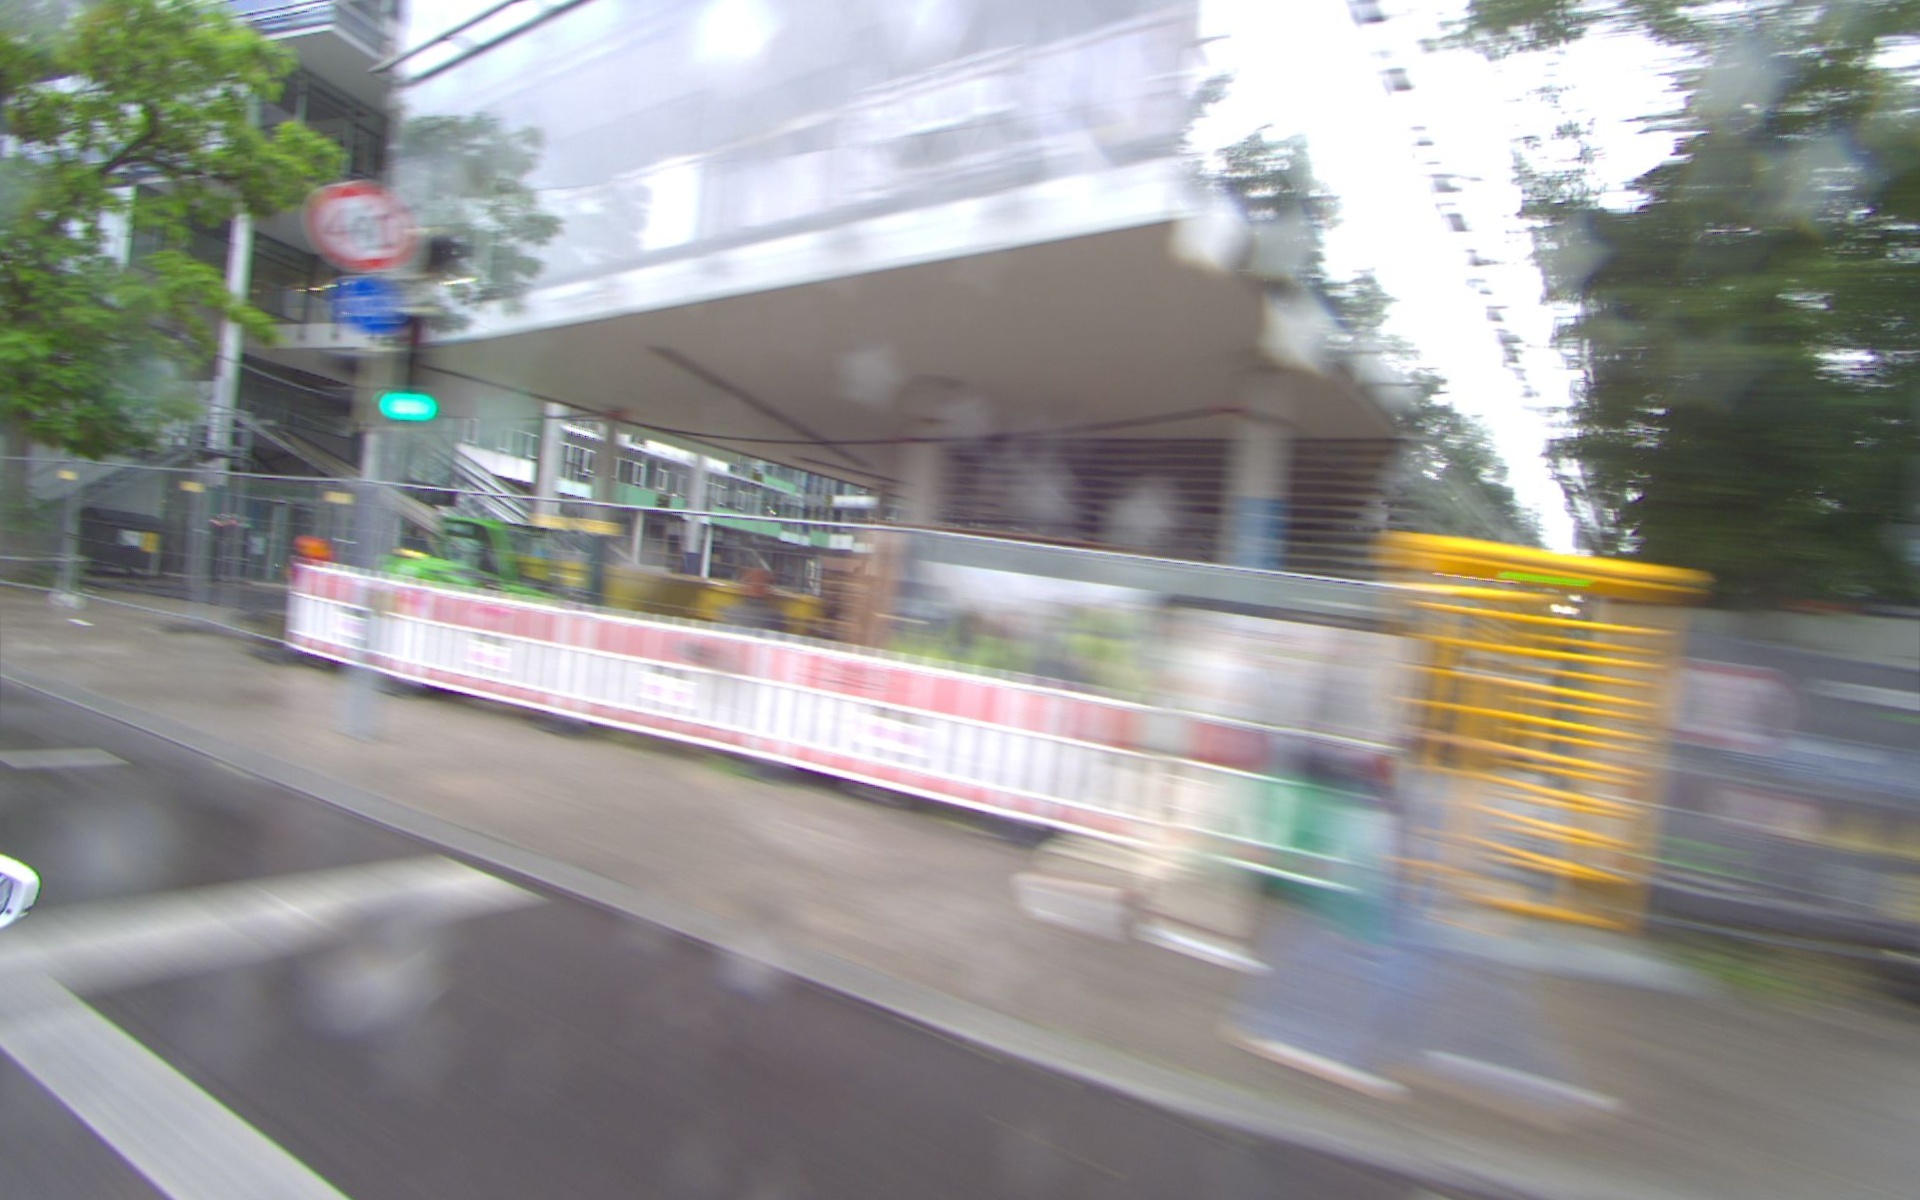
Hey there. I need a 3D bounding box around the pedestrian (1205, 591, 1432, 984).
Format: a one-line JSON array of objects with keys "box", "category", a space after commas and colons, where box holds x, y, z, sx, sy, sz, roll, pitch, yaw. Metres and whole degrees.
[{"box": [1.855, 0.901, 5.192, 0.831, 1.783, 0.598, 7, 0, 30], "category": "pedestrian"}]

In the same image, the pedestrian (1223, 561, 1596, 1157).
[{"box": [1.585, 0.822, 3.644, 0.941, 1.783, 0.720, 6, 0, 24], "category": "pedestrian"}]

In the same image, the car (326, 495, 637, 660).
[{"box": [-7.358, -0.344, 15.478, 4.126, 2.007, 2.015, 6, 0, 25], "category": "car"}]

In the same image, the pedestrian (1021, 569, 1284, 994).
[{"box": [0.954, 0.808, 4.901, 0.941, 1.783, 0.720, 6, 0, 24], "category": "pedestrian"}]
